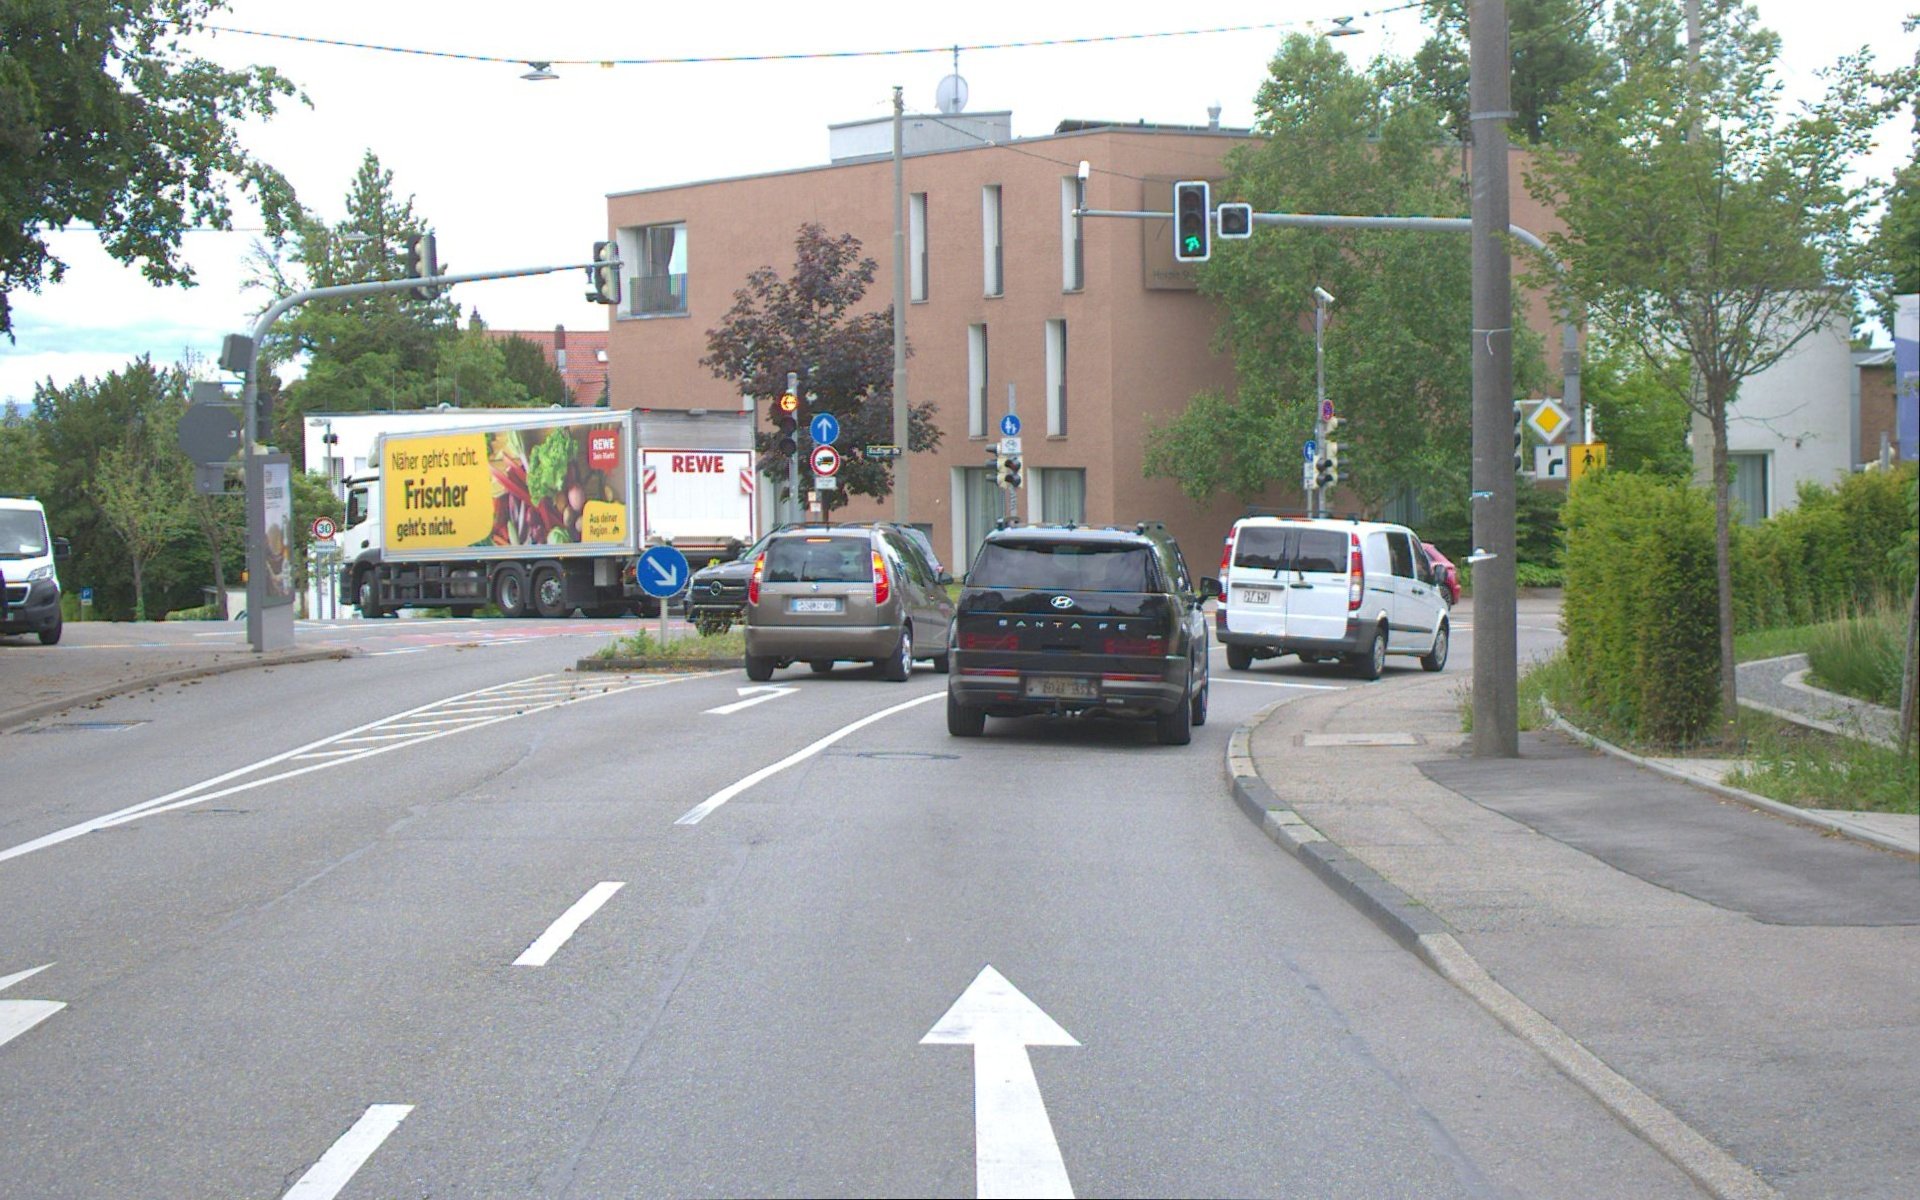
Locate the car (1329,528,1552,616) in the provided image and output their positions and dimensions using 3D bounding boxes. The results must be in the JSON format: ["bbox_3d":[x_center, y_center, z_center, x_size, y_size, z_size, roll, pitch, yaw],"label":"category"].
[{"bbox_3d":[8.871,-0.527,63.255,1.999,1.559,4.207,1,1,43],"label":"car"}]

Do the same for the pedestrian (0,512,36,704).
[{"bbox_3d":[-8.904,0.069,31.192,0.695,1.728,0.750,1,1,44],"label":"pedestrian"}]

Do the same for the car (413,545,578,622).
[{"bbox_3d":[-12.587,-0.464,93.182,3.986,2.007,2.000,-1,1,-28],"label":"car"}]

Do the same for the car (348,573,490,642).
[{"bbox_3d":[-16.253,0.213,103.308,3.986,2.007,2.001,0,1,-17],"label":"car"}]

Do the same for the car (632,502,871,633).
[{"bbox_3d":[-2.983,-0.479,50.302,1.995,1.791,4.517,-1,0,17],"label":"car"}]

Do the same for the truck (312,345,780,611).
[{"bbox_3d":[-8.252,-2.286,66.474,3.126,4.718,11.791,-1,1,-40],"label":"truck"}]

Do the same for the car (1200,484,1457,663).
[{"bbox_3d":[4.620,-0.366,42.541,1.964,2.006,4.423,4,2,21],"label":"car"}]

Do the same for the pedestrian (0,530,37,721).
[{"bbox_3d":[-9.033,0.232,31.767,0.869,1.747,0.694,0,1,-24],"label":"pedestrian"}]

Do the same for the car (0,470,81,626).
[{"bbox_3d":[-14.781,-0.784,51.933,2.280,2.220,6.473,0,1,-20],"label":"car"}]

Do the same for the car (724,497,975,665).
[{"bbox_3d":[-1.123,-0.220,36.994,1.894,1.700,3.998,0,1,10],"label":"car"}]

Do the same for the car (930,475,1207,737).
[{"bbox_3d":[0.841,0.003,27.877,1.993,1.875,4.000,3,1,1],"label":"car"}]
